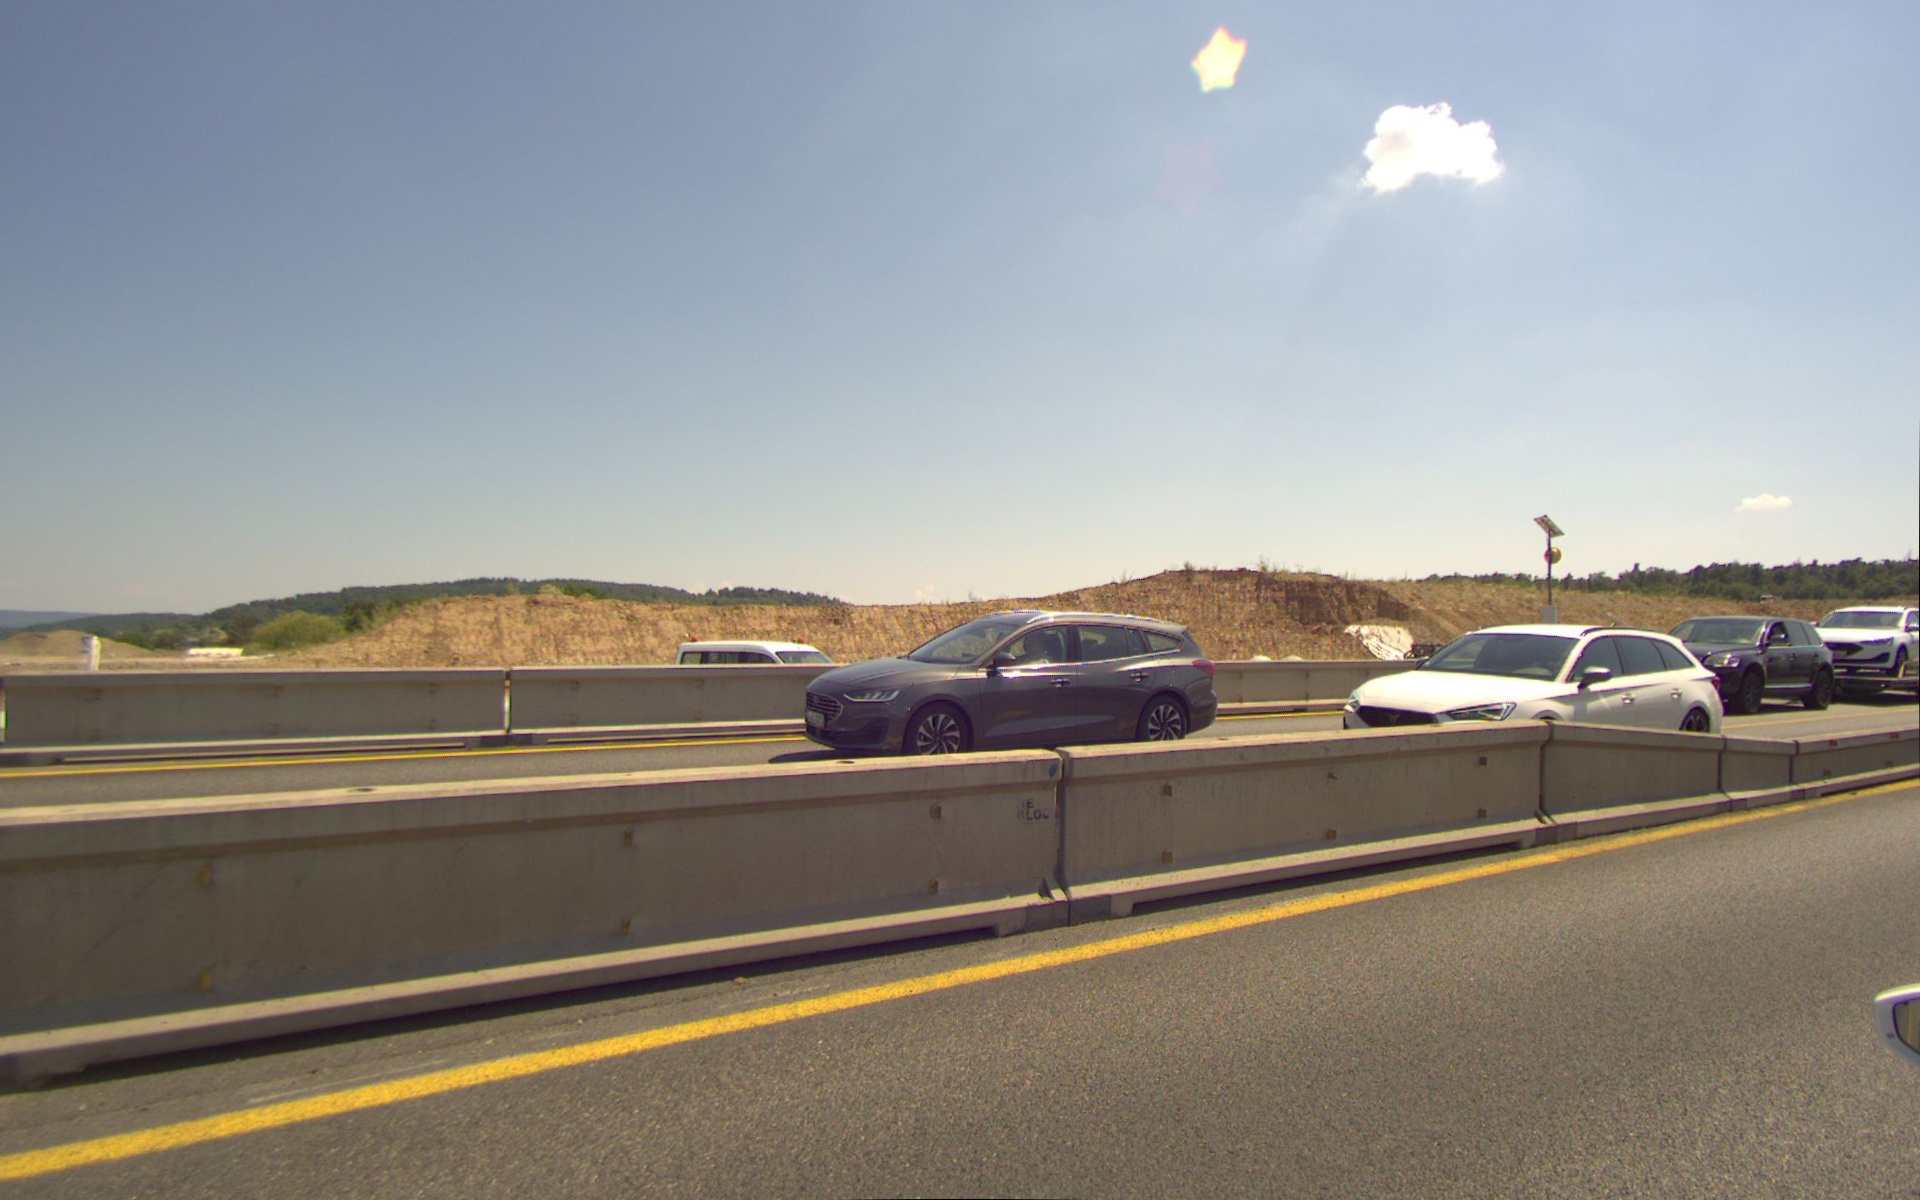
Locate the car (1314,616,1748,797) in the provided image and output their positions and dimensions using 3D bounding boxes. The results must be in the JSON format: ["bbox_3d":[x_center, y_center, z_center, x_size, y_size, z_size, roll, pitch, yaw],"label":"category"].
[{"bbox_3d":[5.835,0.924,10.116,4.581,1.474,1.807,1,-1,-31],"label":"car"}]

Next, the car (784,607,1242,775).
[{"bbox_3d":[0.639,0.845,10.592,4.592,1.442,1.813,1,-1,-30],"label":"car"}]

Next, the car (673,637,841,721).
[{"bbox_3d":[-4.069,1.513,20.039,3.148,1.474,1.543,0,-1,35],"label":"car"}]

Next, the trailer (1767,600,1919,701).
[{"bbox_3d":[20.359,1.074,22.322,5.174,2.008,2.120,1,-2,-31],"label":"trailer"}]

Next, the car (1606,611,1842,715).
[{"bbox_3d":[14.210,1.099,18.625,4.663,1.701,1.913,1,-1,-31],"label":"car"}]
